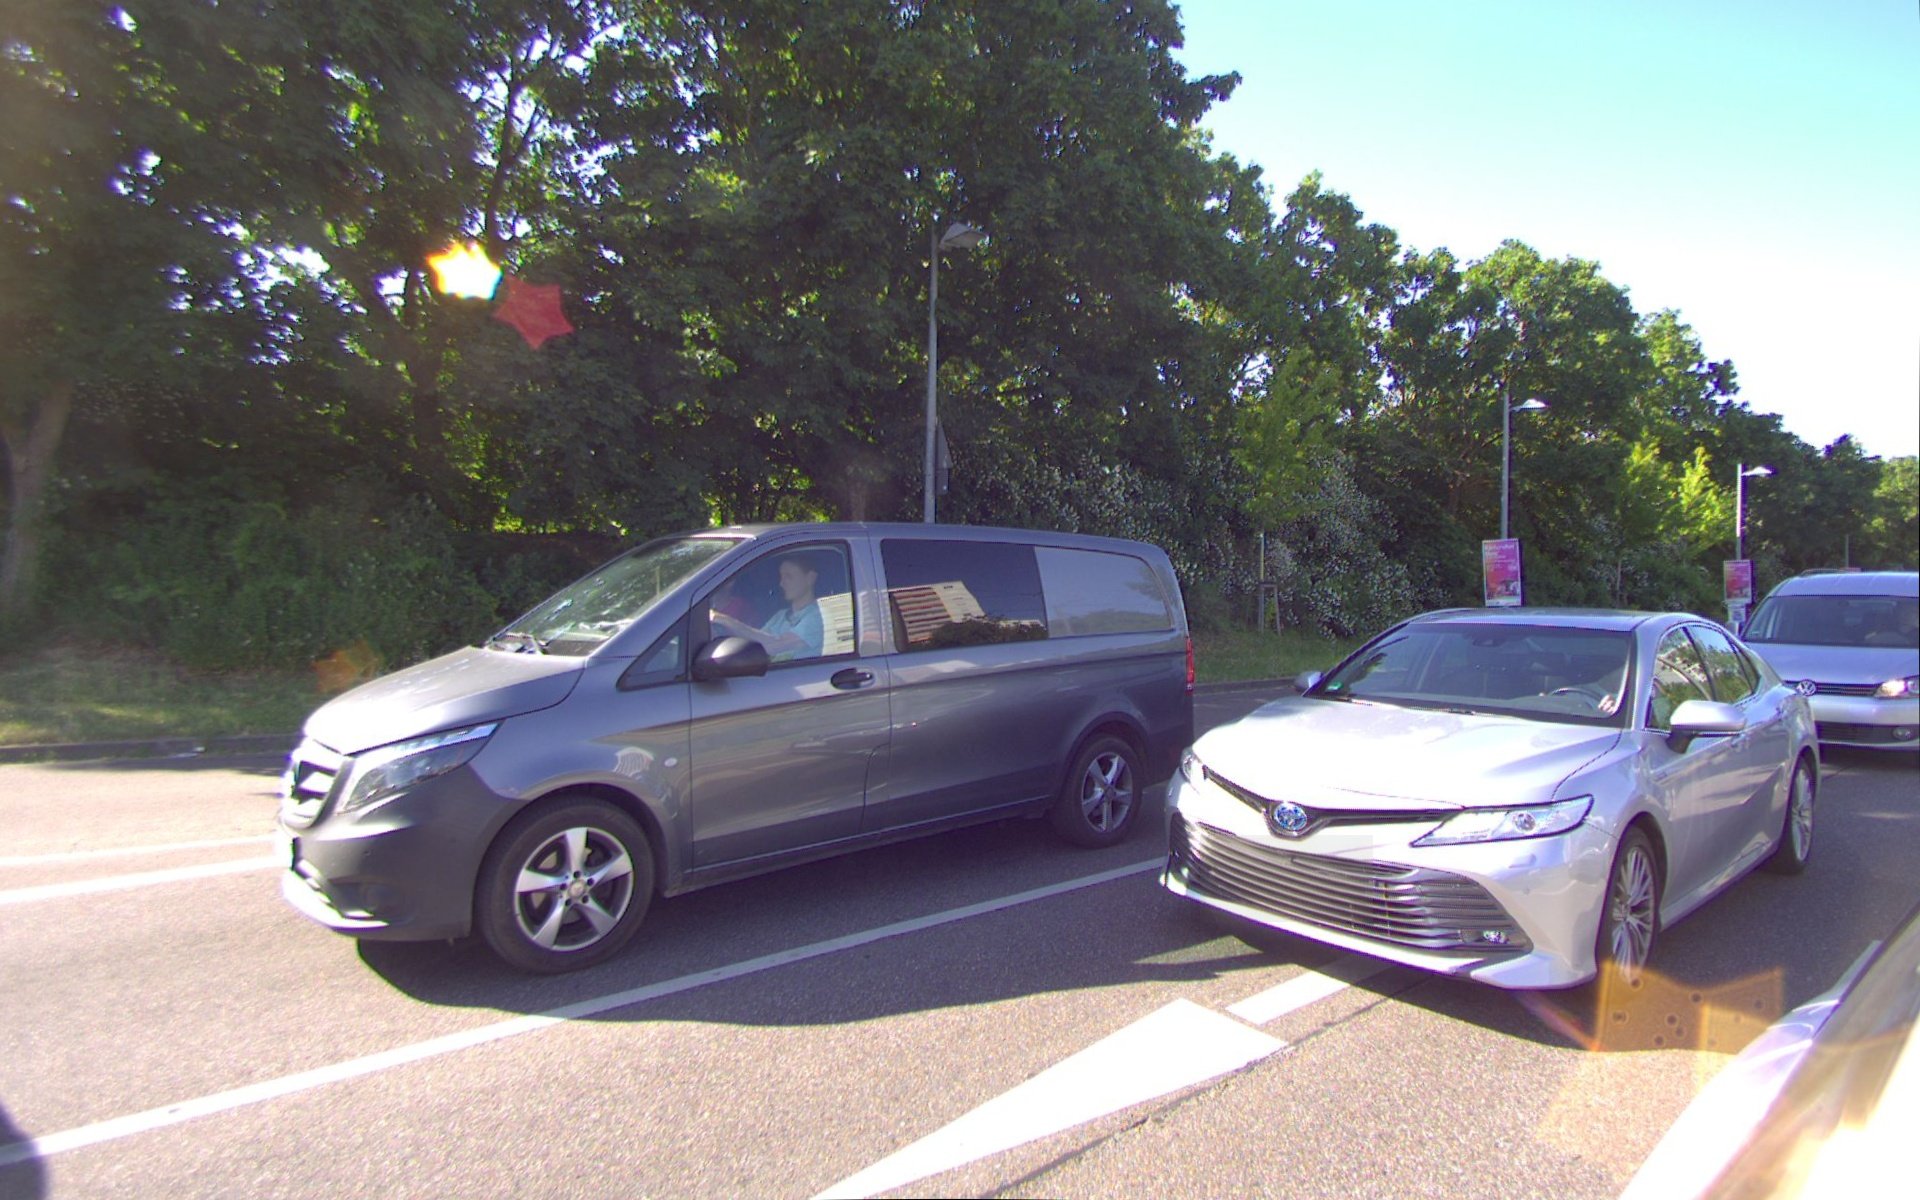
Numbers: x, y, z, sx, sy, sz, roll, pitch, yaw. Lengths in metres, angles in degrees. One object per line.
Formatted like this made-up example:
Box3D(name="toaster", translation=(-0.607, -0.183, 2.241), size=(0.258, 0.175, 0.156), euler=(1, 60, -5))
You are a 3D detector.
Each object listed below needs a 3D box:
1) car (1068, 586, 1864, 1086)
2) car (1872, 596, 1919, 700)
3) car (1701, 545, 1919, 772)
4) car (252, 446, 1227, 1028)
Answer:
Box3D(name="car", translation=(2.948, 0.695, 5.351), size=(4.664, 1.477, 2.069), euler=(0, 2, -40))
Box3D(name="car", translation=(14.971, 0.674, 14.866), size=(3.995, 1.421, 1.776), euler=(0, 1, -40))
Box3D(name="car", translation=(9.501, 0.471, 10.542), size=(4.539, 1.928, 1.822), euler=(0, 1, -40))
Box3D(name="car", translation=(-0.840, 0.417, 5.730), size=(5.056, 1.917, 1.998), euler=(0, 1, -40))
